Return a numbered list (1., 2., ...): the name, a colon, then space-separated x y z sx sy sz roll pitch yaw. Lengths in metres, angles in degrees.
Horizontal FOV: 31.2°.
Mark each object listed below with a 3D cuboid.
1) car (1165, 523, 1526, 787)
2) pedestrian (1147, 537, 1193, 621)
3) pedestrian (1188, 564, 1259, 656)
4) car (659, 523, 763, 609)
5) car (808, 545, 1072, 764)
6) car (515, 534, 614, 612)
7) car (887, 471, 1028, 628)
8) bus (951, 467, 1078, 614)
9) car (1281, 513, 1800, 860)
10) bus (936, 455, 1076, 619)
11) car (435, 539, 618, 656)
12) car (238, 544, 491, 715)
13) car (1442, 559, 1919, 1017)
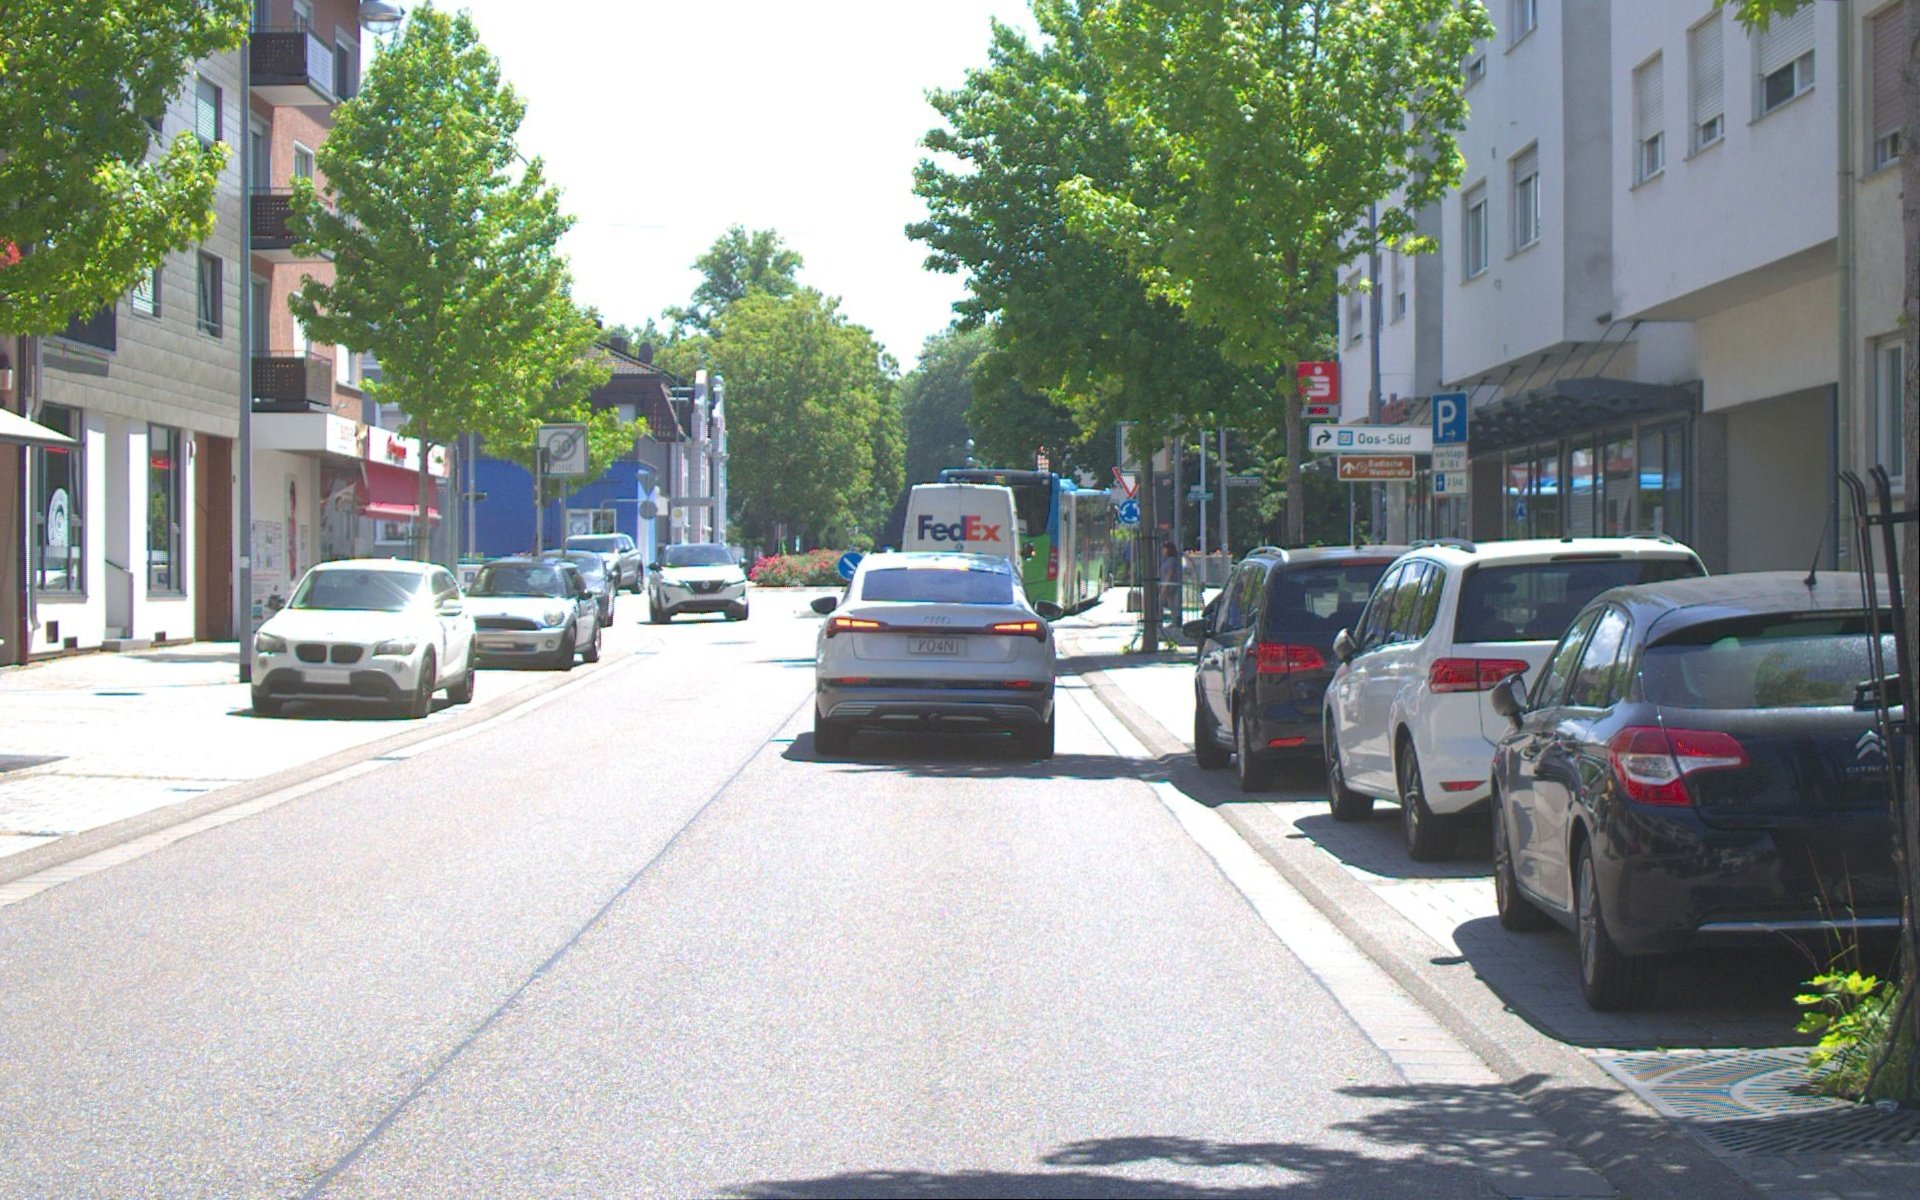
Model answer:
1. car: 2.649 0.318 24.694 1.855 1.669 4.537 -2 1 -2
2. pedestrian: 3.766 -0.386 61.786 0.716 1.497 0.582 0 1 -8
3. pedestrian: 3.555 0.134 46.442 0.906 1.232 0.648 0 1 -1
4. car: -5.114 -0.718 71.137 1.856 1.686 4.150 -1 1 -1
5. car: -0.199 0.388 28.428 1.993 1.627 4.000 2 1 -1
6. car: -7.789 -0.555 67.904 1.837 1.490 4.001 0 1 -5
7. car: -0.027 -0.831 57.344 2.156 2.433 5.283 2 1 0
8. bus: 1.351 -1.365 80.547 2.661 3.199 7.451 2 1 2
9. car: 3.093 0.387 19.347 1.896 1.669 4.691 -2 1 -2
10. bus: 1.048 -1.307 73.204 2.661 3.210 7.301 2 1 2
11. car: -5.840 -0.061 46.725 1.752 1.448 4.400 2 1 2
12. car: -6.131 0.256 35.862 1.752 1.612 4.401 2 1 1
13. car: 3.062 0.571 13.207 1.896 1.433 4.544 0 1 2
